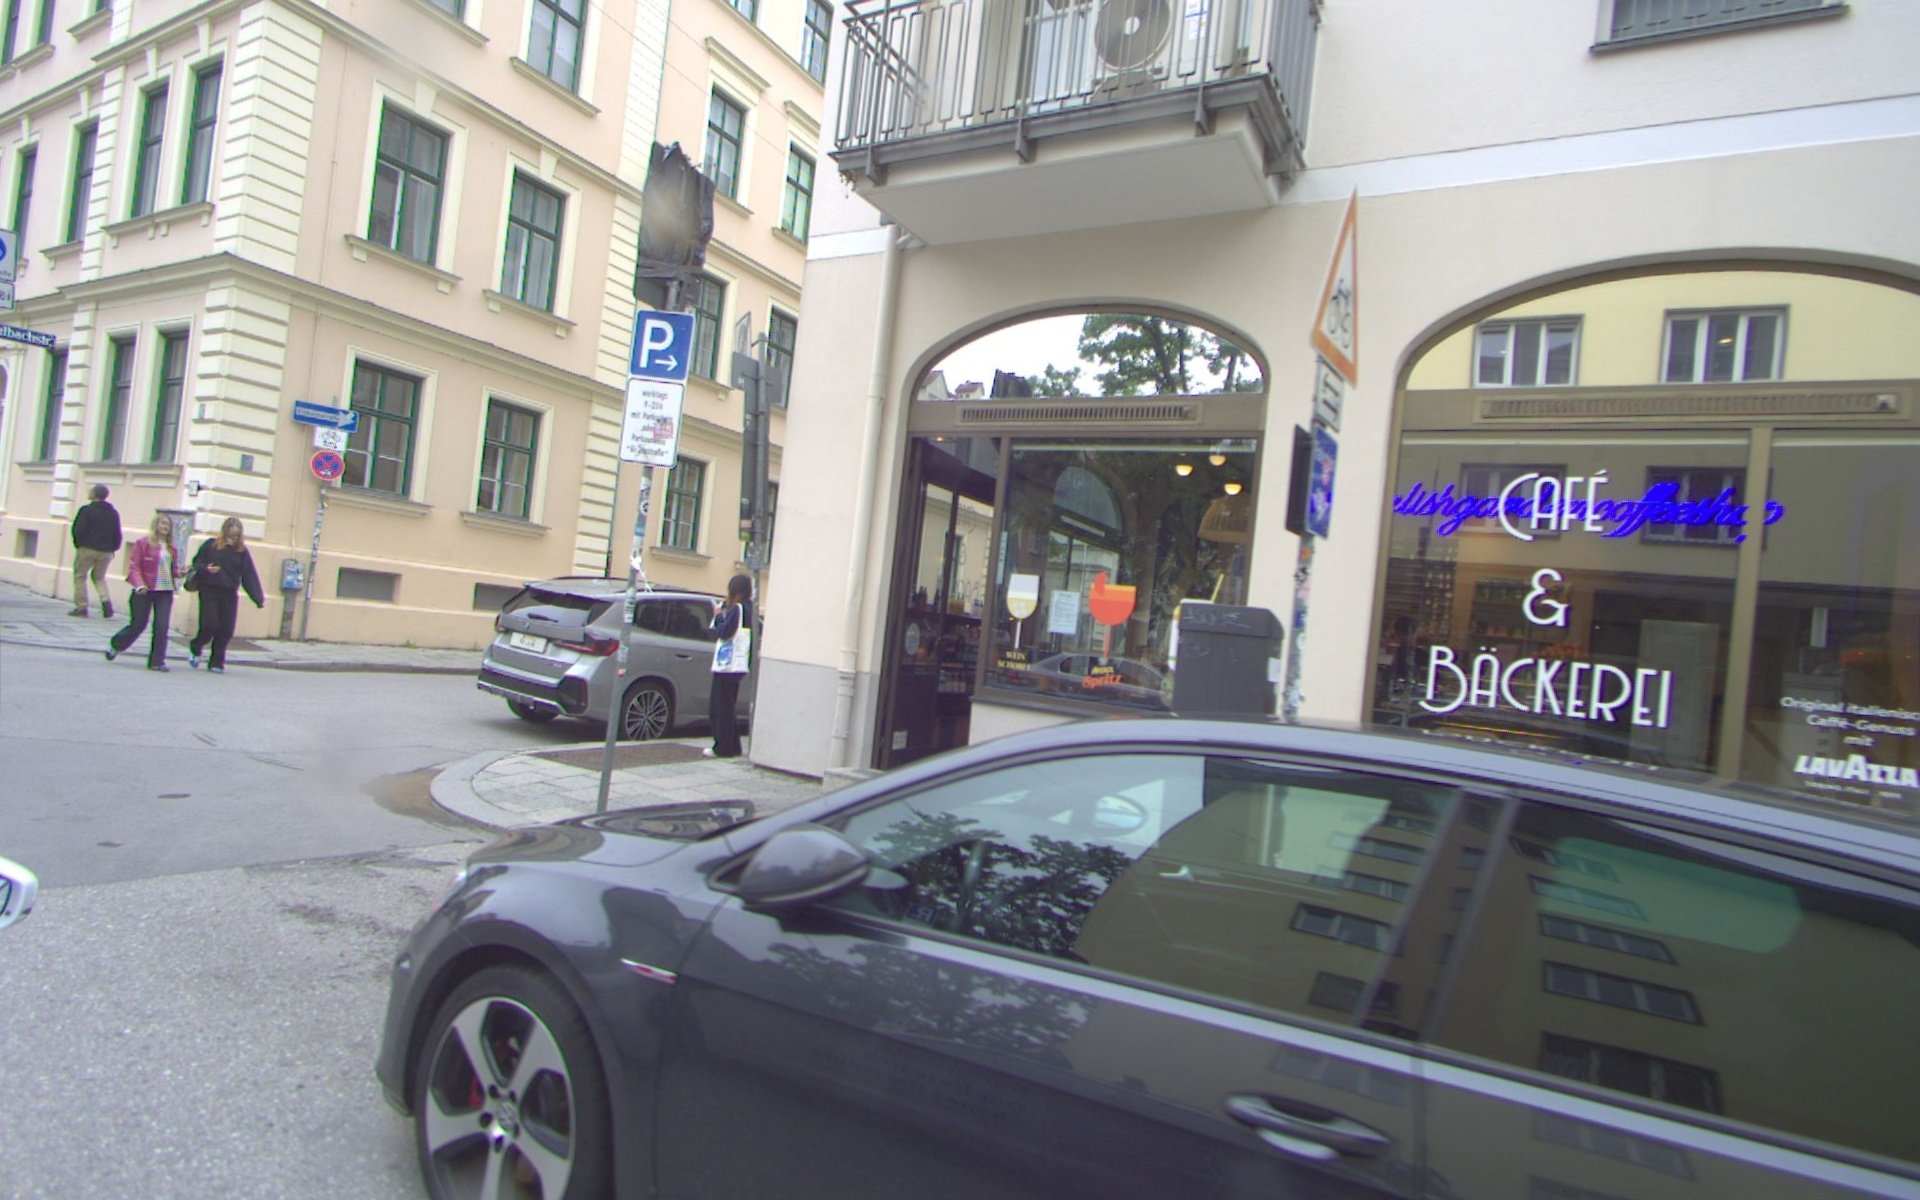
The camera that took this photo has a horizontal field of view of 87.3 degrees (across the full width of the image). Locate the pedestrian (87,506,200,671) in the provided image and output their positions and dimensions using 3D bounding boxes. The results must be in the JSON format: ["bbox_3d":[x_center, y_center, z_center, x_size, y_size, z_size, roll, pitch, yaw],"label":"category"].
[{"bbox_3d":[-8.635,-0.126,10.638,1.051,1.644,0.472,5,-1,30],"label":"pedestrian"}]

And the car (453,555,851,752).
[{"bbox_3d":[-3.206,0.618,11.348,1.725,1.625,4.096,8,0,29],"label":"car"}]

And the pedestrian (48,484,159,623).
[{"bbox_3d":[-11.473,-0.614,13.474,0.987,1.738,0.720,5,-1,30],"label":"pedestrian"}]

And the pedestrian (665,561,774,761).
[{"bbox_3d":[-2.112,0.534,8.889,0.517,1.667,0.636,5,-1,23],"label":"pedestrian"}]

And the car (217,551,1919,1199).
[{"bbox_3d":[0.265,0.895,2.496,4.131,1.440,1.681,7,-3,29],"label":"car"}]

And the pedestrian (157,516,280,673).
[{"bbox_3d":[-8.303,-0.057,11.269,0.963,1.640,0.660,5,-1,30],"label":"pedestrian"}]

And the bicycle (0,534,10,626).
[{"bbox_3d":[-12.155,-0.339,12.189,1.700,1.066,0.465,9,3,32],"label":"bicycle"}]

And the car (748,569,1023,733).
[{"bbox_3d":[-0.963,0.828,15.729,1.941,1.940,4.449,10,0,29],"label":"car"}]
